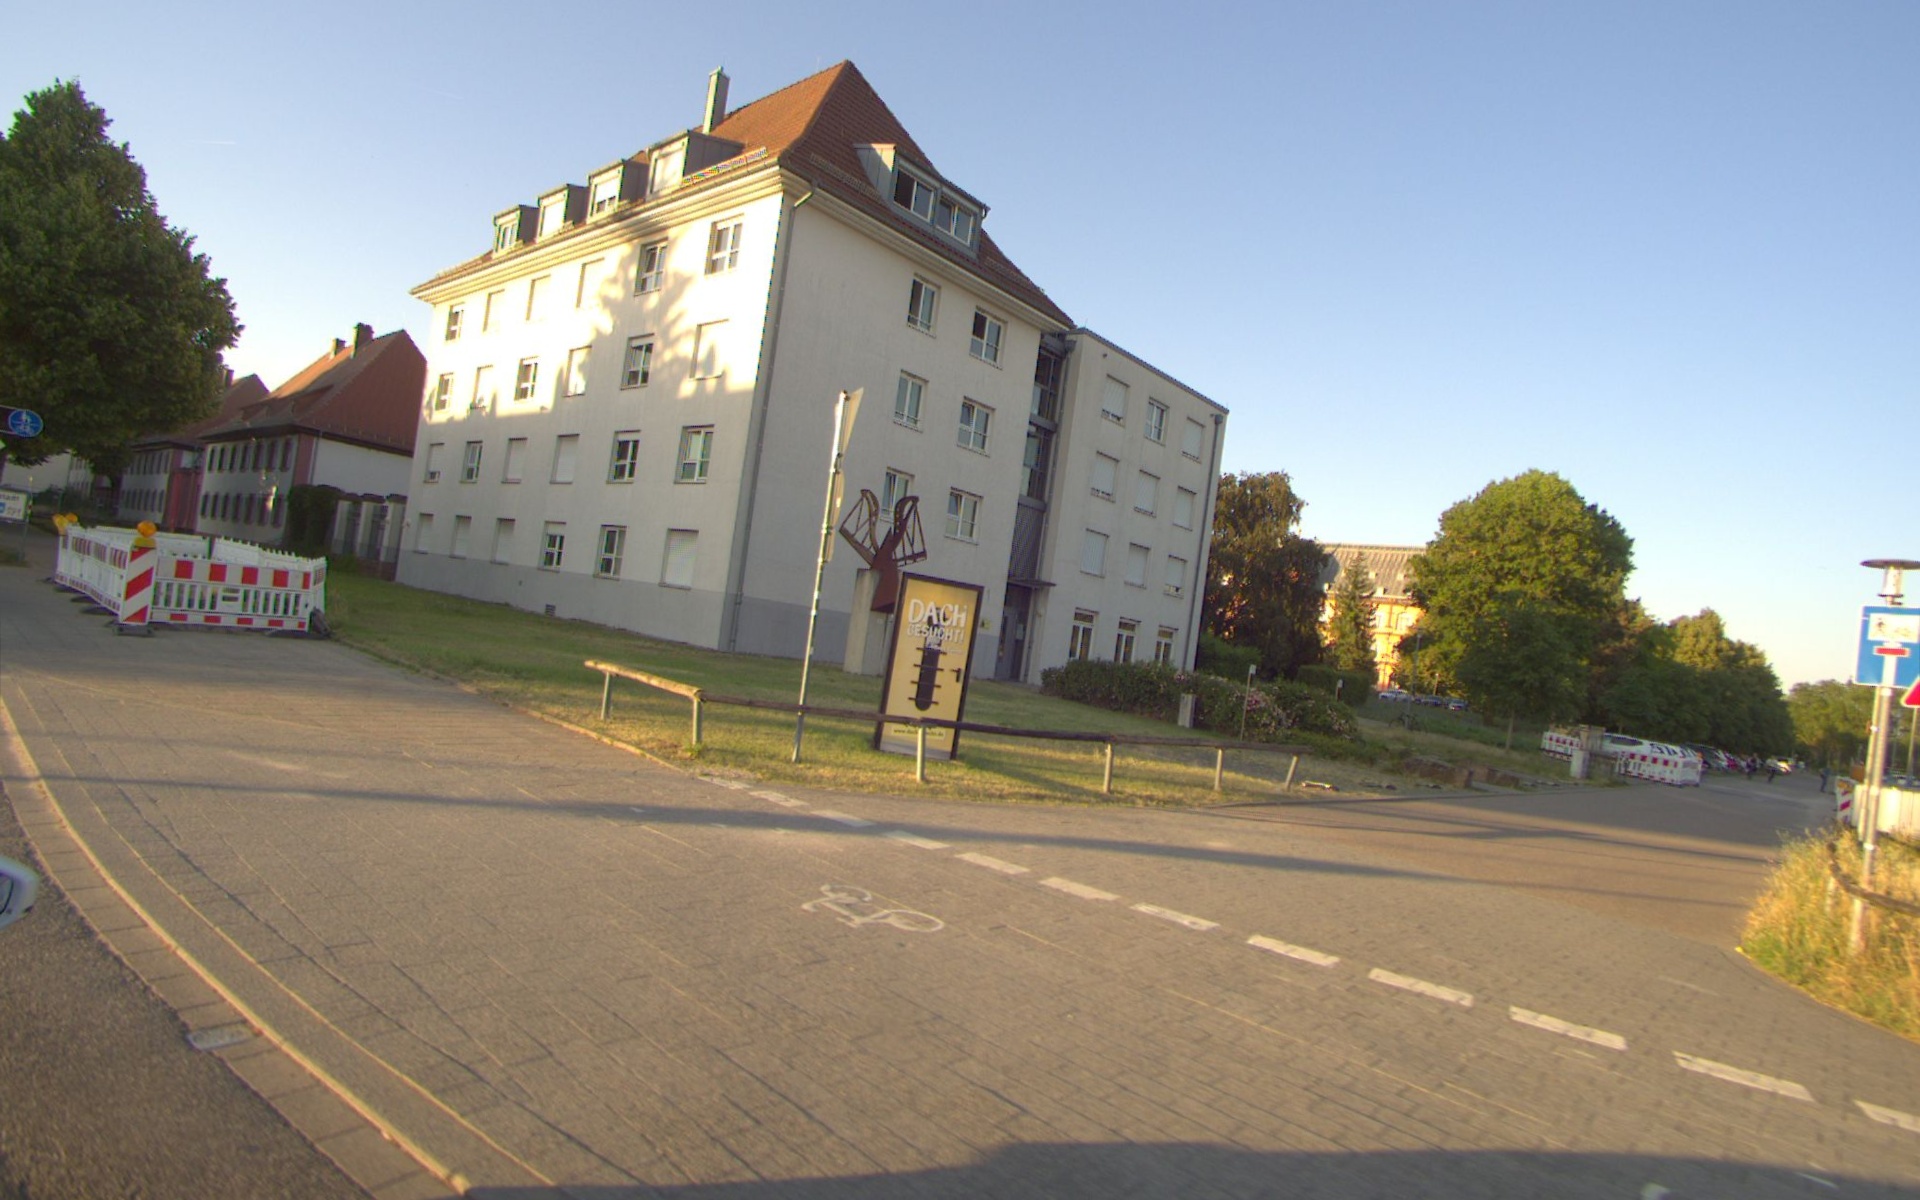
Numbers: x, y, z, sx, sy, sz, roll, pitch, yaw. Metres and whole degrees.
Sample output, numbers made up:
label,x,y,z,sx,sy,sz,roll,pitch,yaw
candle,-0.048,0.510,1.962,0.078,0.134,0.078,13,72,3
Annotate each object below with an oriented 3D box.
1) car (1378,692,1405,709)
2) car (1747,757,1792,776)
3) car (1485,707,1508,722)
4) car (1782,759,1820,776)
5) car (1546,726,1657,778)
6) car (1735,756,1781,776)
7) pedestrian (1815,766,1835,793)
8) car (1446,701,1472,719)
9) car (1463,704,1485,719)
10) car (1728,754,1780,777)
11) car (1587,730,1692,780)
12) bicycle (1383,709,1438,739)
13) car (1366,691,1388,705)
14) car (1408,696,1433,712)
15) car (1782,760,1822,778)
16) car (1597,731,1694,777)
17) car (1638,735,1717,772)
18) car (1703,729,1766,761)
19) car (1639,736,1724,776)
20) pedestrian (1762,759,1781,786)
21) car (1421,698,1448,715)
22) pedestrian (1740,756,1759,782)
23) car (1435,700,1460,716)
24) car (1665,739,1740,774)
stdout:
label,x,y,z,sx,sy,sz,roll,pitch,yaw
car,47.793,11.164,111.429,1.750,1.582,4.259,6,-2,36
car,99.520,20.454,123.676,4.136,1.626,1.725,6,-3,41
car,66.045,14.074,123.800,1.750,1.582,4.259,6,-2,36
car,123.392,24.570,147.643,4.136,1.626,1.725,6,-3,41
car,30.716,7.259,48.231,4.136,1.778,1.725,6,-3,41
car,94.174,19.557,118.762,4.136,1.626,1.725,6,-3,41
pedestrian,53.979,11.224,62.810,0.788,1.545,0.624,7,-2,40
car,53.065,11.685,106.921,1.750,1.582,4.259,6,-2,36
car,63.974,13.852,125.126,1.750,1.582,4.259,6,-2,36
car,84.259,17.549,106.817,4.136,1.626,1.725,6,-3,41
car,34.831,7.933,51.624,4.136,1.778,1.725,6,-3,41
bicycle,18.269,5.022,40.823,1.772,0.928,0.788,6,-2,45
car,55.489,13.072,133.852,1.750,1.582,4.259,6,-2,36
car,54.978,12.456,120.007,1.750,1.582,4.259,6,-2,36
car,115.537,23.147,138.067,4.136,1.626,1.725,6,-3,41
car,37.940,8.511,55.741,4.136,1.778,1.725,6,-3,41
car,48.982,10.483,68.746,4.136,1.778,1.725,6,-3,41
car,68.606,12.846,89.125,4.136,2.143,1.725,6,-2,41
car,45.921,9.897,64.105,4.136,1.778,1.725,6,-3,41
pedestrian,51.996,11.025,64.444,0.828,1.545,1.036,6,-2,41
car,51.193,11.501,108.547,1.750,1.582,4.259,6,-2,36
pedestrian,51.053,10.924,65.052,0.828,1.545,1.036,6,-2,41
car,56.814,12.587,117.151,1.750,1.582,4.259,6,-2,36
car,54.153,11.385,73.425,4.136,1.778,1.725,6,-3,41
